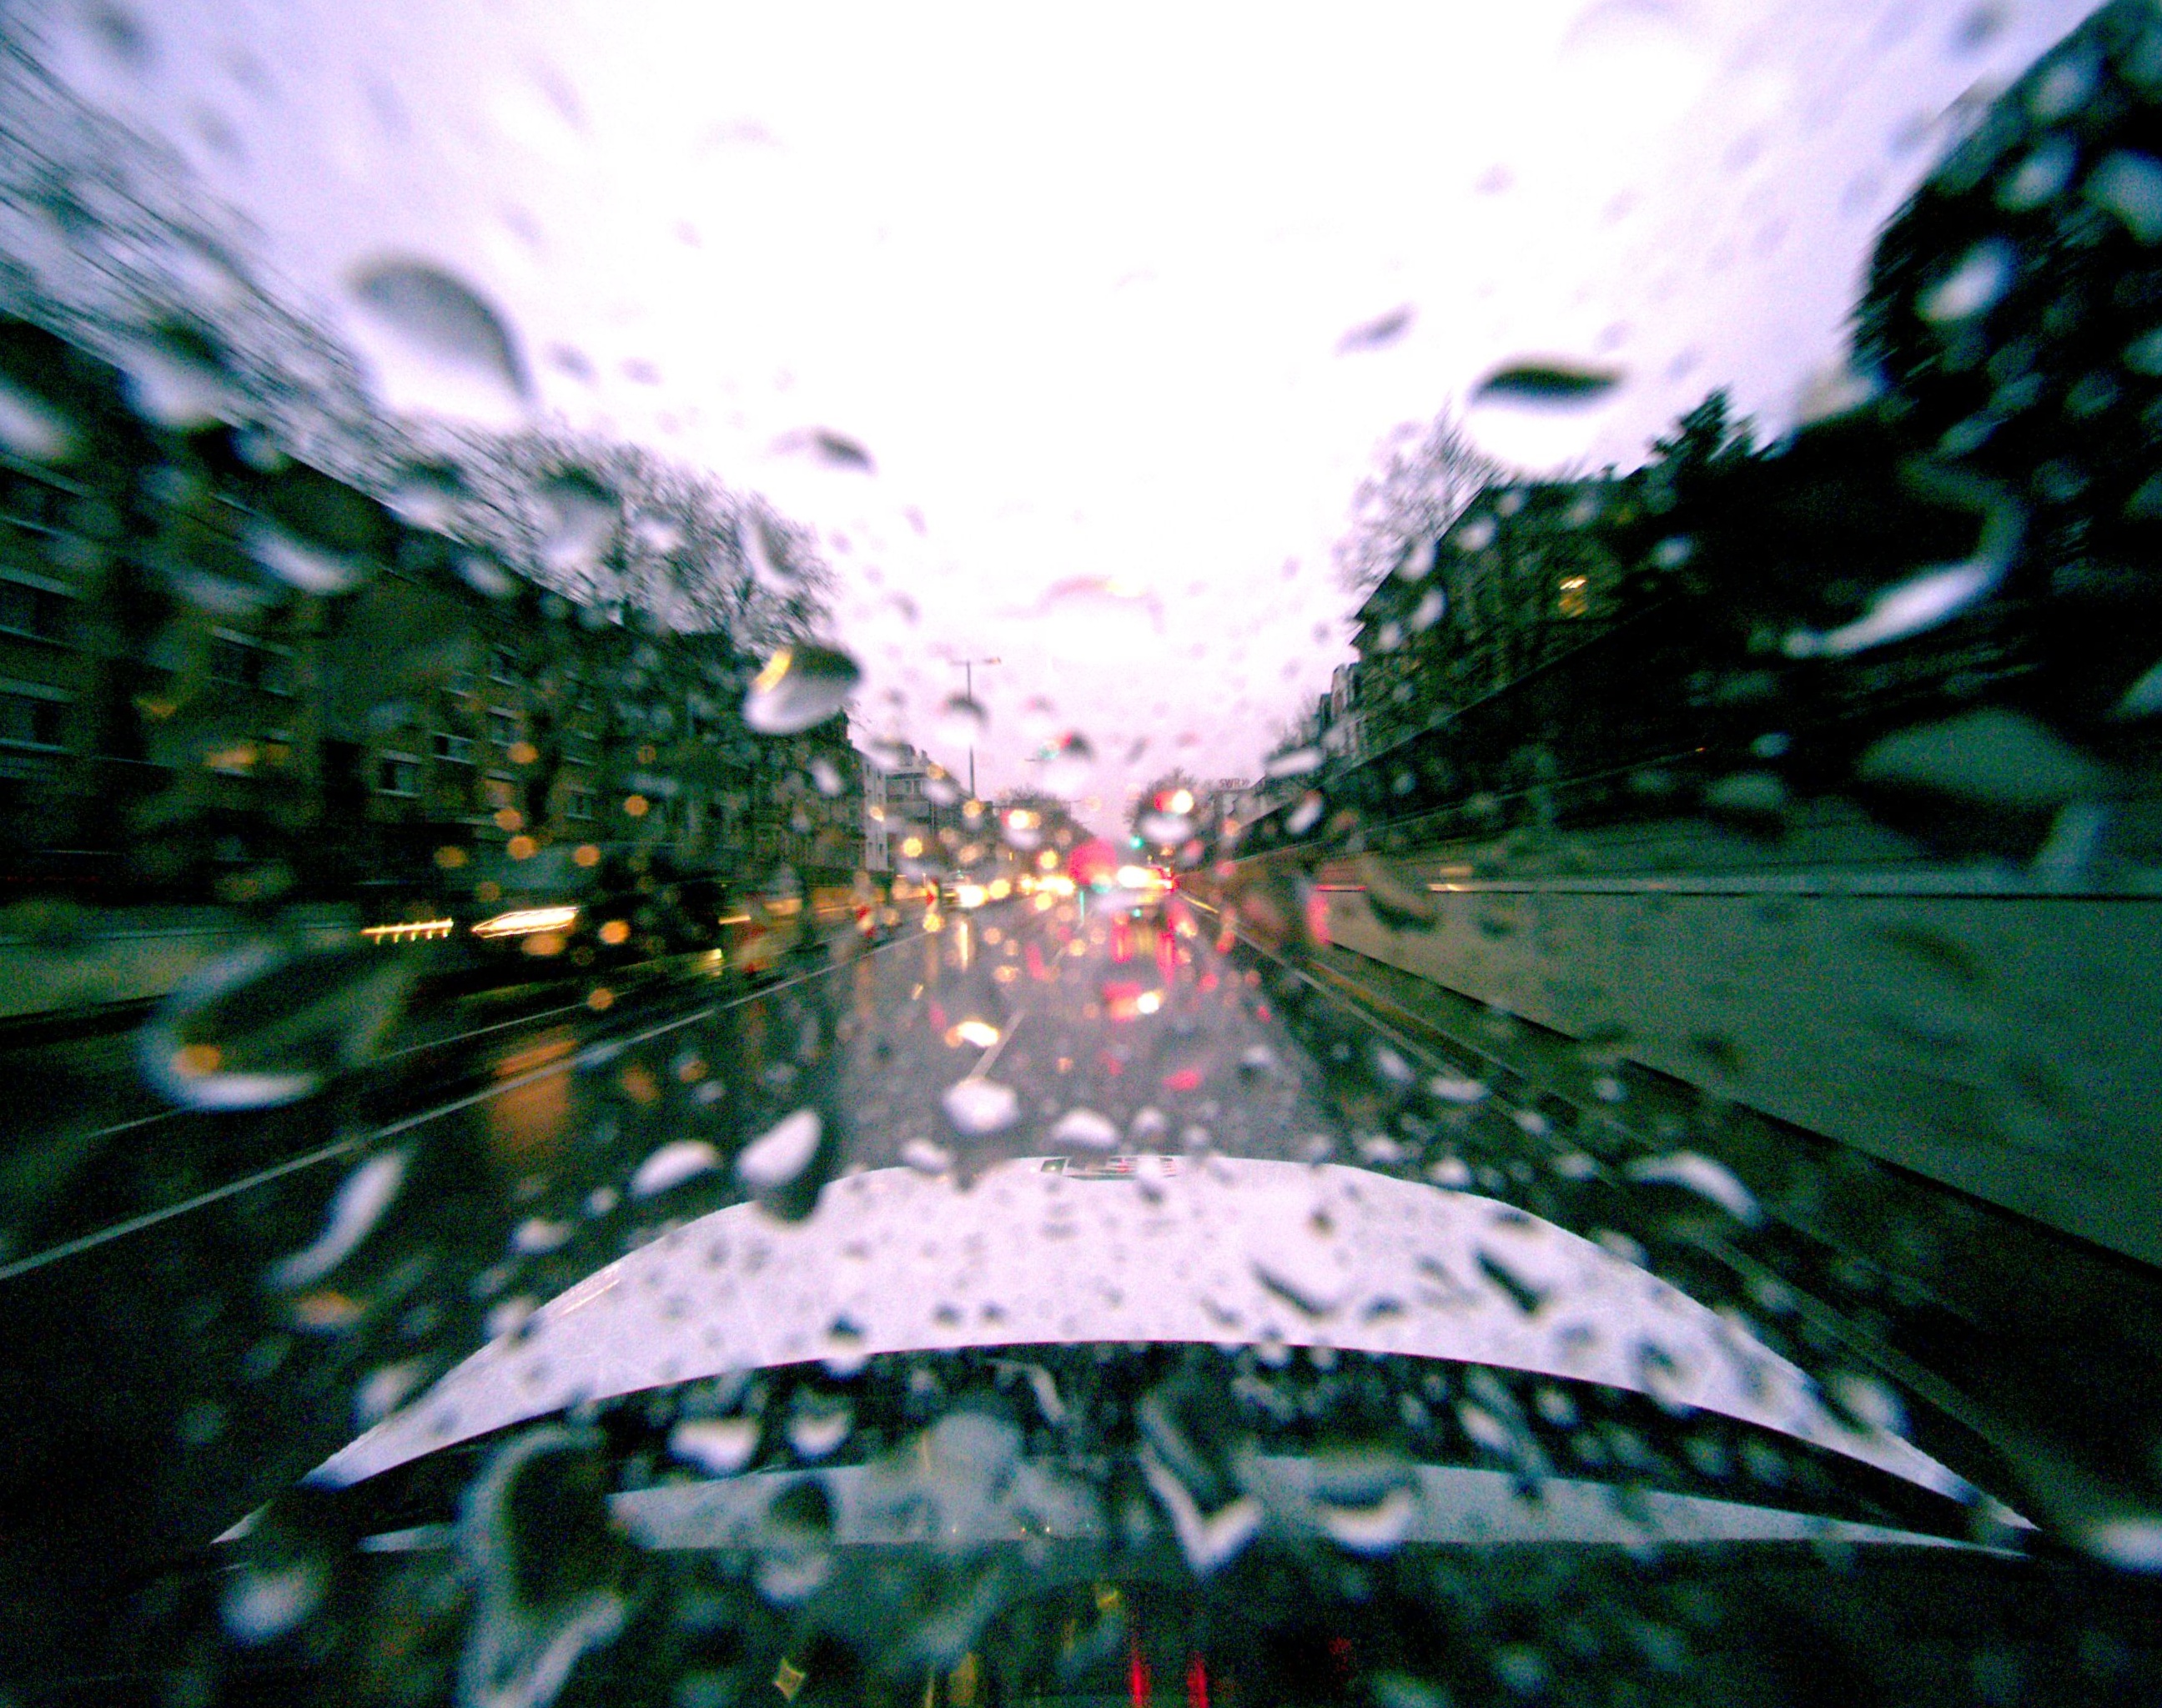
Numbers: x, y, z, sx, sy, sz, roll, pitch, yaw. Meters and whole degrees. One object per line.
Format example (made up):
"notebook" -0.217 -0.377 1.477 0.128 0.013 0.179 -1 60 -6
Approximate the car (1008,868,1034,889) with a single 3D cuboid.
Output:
"car" -4.517 1.872 61.849 1.491 1.383 3.435 -4 0 2

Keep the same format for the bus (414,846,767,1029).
"bus" -6.600 0.977 11.875 1.667 1.965 5.178 -5 -1 3

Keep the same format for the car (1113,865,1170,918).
"car" 1.718 1.071 23.607 1.525 1.397 3.436 -1 -2 3

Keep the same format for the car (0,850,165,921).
"car" -20.698 0.635 15.919 1.435 1.272 3.589 -3 -2 2

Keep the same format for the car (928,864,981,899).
"car" -5.814 1.219 37.747 1.601 1.383 3.698 -4 0 3

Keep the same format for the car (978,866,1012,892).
"car" -5.245 1.502 50.125 1.490 1.383 3.436 -4 0 3

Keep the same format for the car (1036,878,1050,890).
"car" -5.219 4.066 111.771 1.491 1.383 3.435 -4 0 2

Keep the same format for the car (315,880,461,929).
"car" -20.536 1.458 24.291 1.435 1.272 3.263 -3 -2 2
